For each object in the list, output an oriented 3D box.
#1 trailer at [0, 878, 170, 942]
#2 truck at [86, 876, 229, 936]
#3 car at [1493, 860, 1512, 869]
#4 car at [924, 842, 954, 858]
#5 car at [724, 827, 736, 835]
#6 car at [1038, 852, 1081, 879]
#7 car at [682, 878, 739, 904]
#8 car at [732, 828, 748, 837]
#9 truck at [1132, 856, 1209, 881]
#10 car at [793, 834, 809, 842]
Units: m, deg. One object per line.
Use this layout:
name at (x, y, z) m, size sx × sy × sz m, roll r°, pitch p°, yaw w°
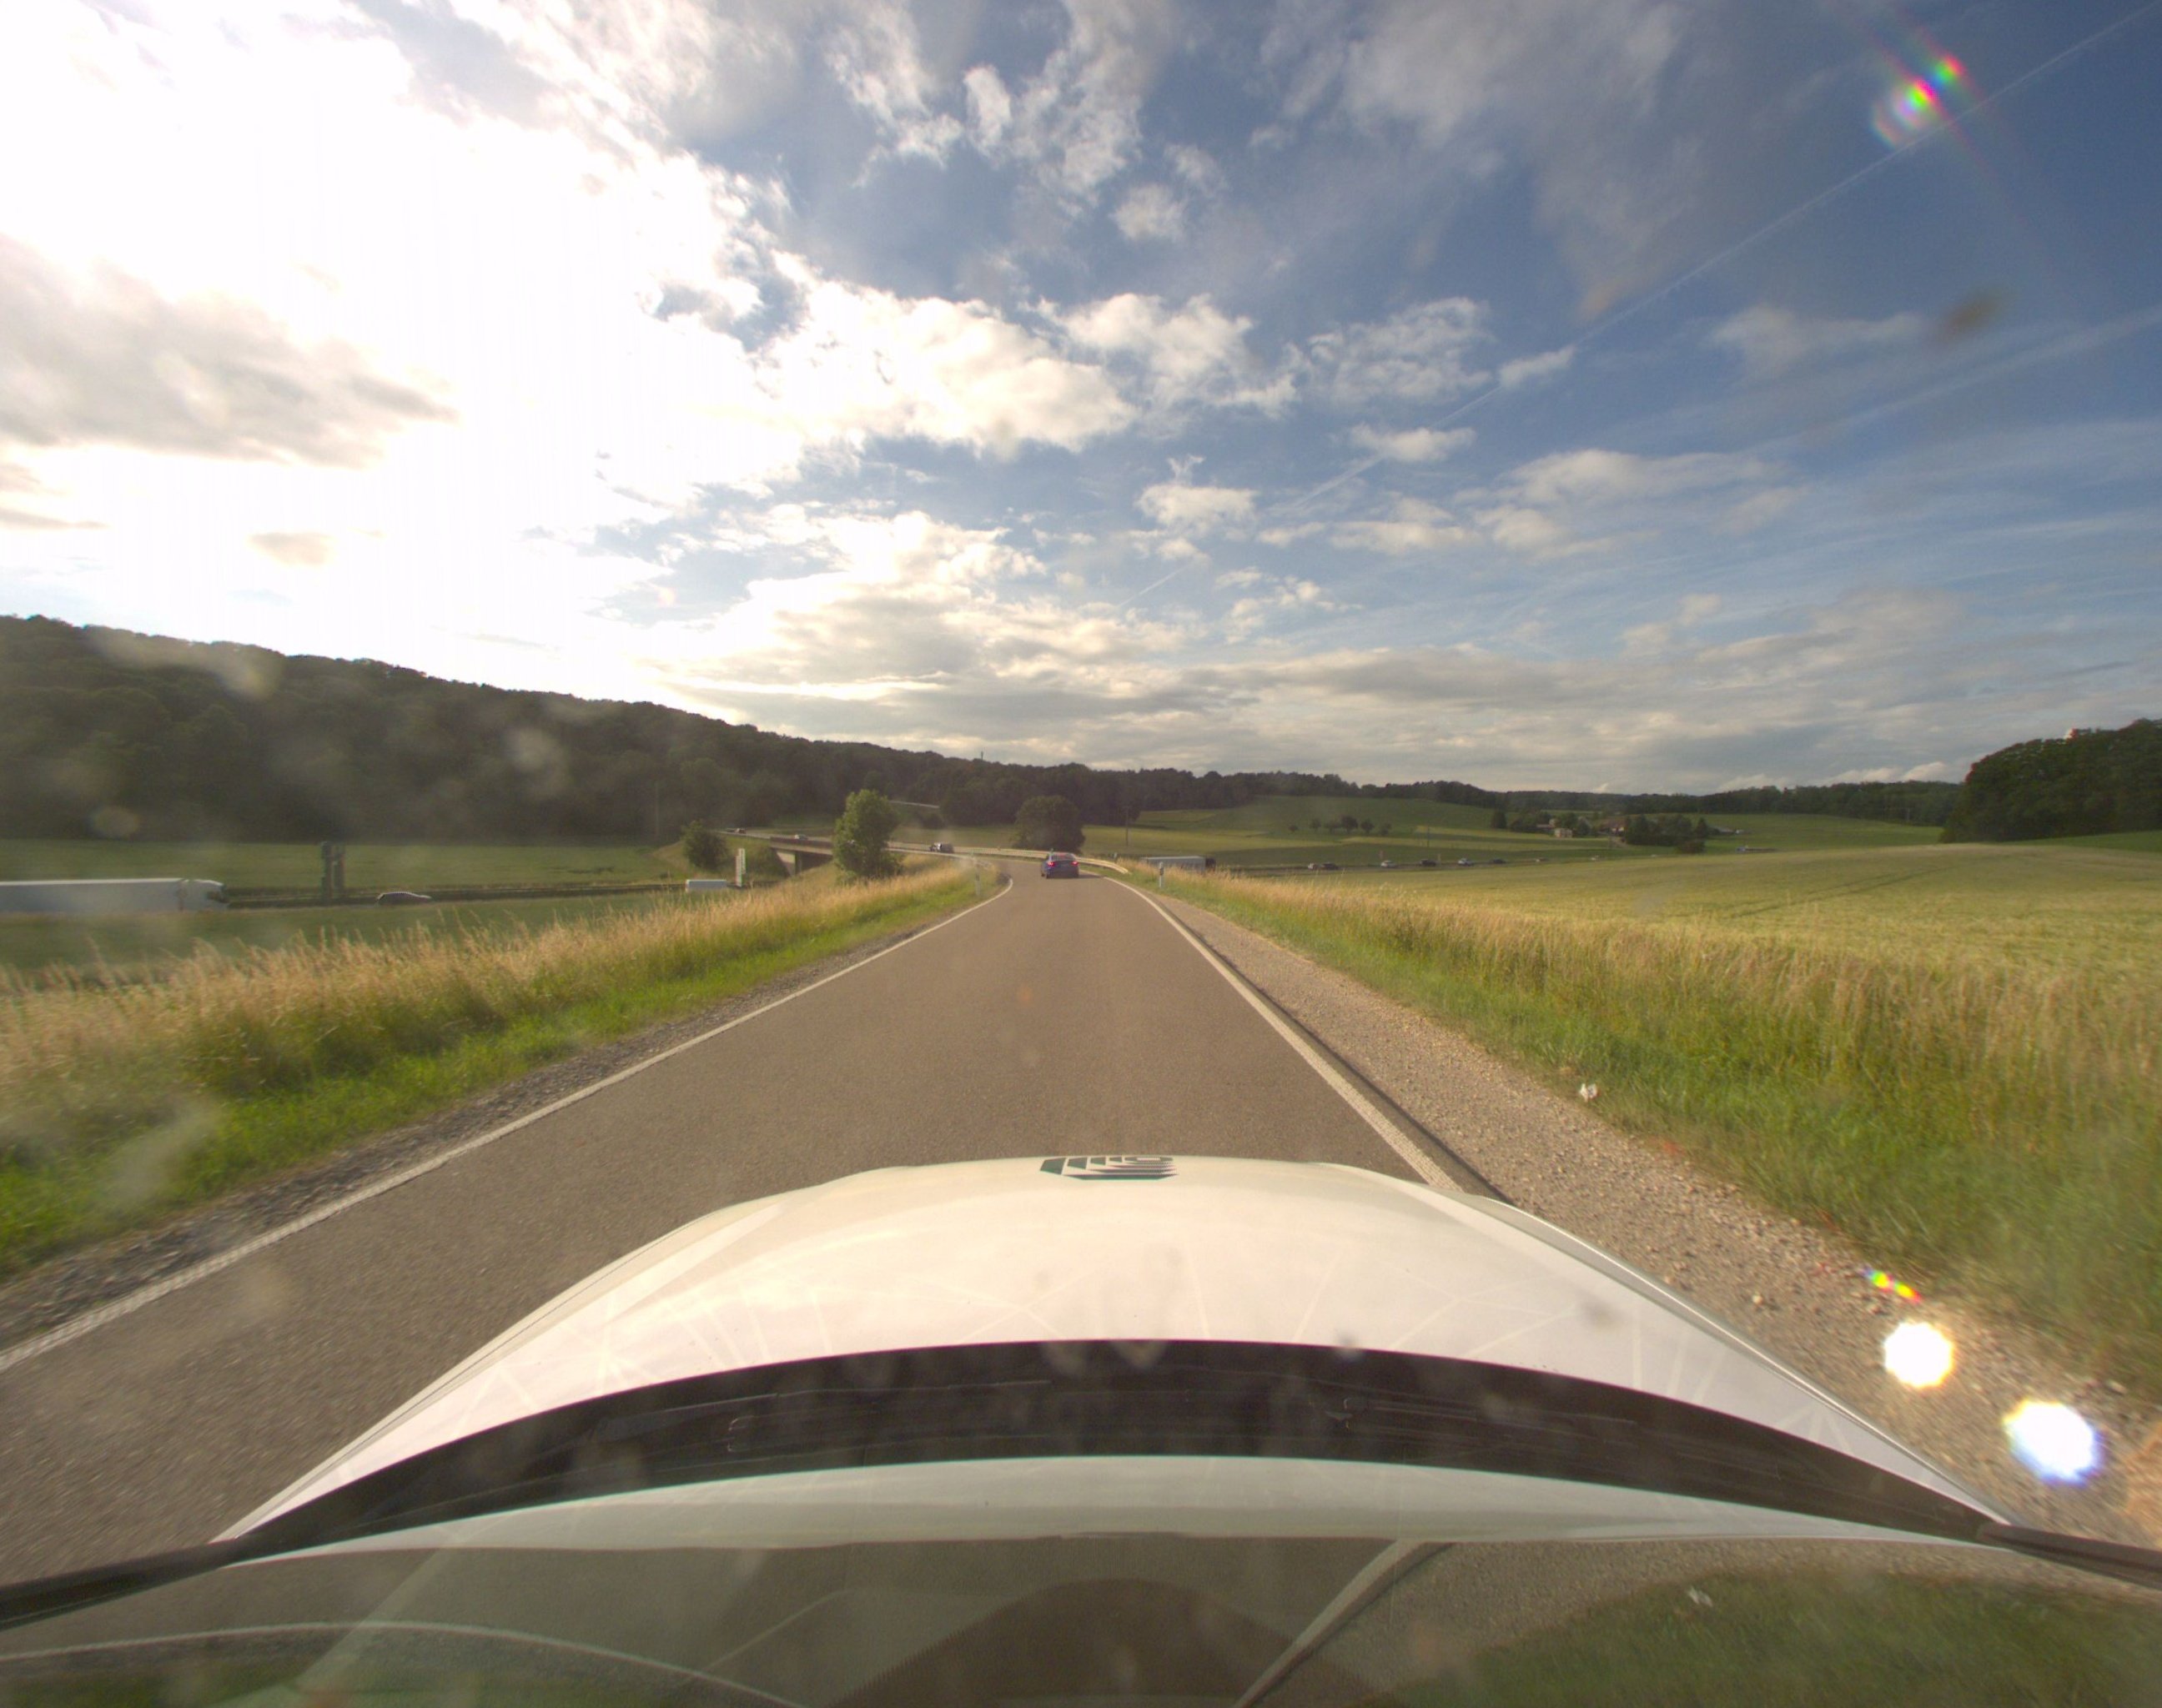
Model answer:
trailer at (-87.508, 4.750, 69.394) m, size 12.798 × 4.466 × 2.997 m, roll -3°, pitch 6°, yaw -42°
truck at (-82.982, 4.531, 73.478) m, size 8.101 × 4.466 × 2.994 m, roll -3°, pitch 6°, yaw -42°
car at (97.402, 2.464, 188.342) m, size 4.012 × 2.014 × 1.981 m, roll -2°, pitch -1°, yaw -30°
car at (-14.836, -0.395, 85.054) m, size 1.873 × 1.568 × 3.962 m, roll -1°, pitch 2°, yaw -30°
car at (-82.744, -5.344, 191.905) m, size 2.007 × 1.771 × 3.962 m, roll -5°, pitch 4°, yaw -31°
car at (-1.251, 0.613, 45.763) m, size 1.818 × 1.339 × 4.336 m, roll -2°, pitch 1°, yaw -9°
car at (-46.689, 4.575, 102.704) m, size 6.150 × 2.583 × 2.349 m, roll -2°, pitch 8°, yaw -36°
car at (-68.863, -4.266, 164.323) m, size 2.008 × 1.679 × 4.133 m, roll 2°, pitch 0°, yaw -36°
truck at (16.245, 2.560, 147.034) m, size 14.480 × 3.997 × 4.037 m, roll -2°, pitch -1°, yaw -34°
car at (-44.543, -2.581, 129.480) m, size 1.482 × 1.227 × 3.265 m, roll -1°, pitch 2°, yaw -34°
